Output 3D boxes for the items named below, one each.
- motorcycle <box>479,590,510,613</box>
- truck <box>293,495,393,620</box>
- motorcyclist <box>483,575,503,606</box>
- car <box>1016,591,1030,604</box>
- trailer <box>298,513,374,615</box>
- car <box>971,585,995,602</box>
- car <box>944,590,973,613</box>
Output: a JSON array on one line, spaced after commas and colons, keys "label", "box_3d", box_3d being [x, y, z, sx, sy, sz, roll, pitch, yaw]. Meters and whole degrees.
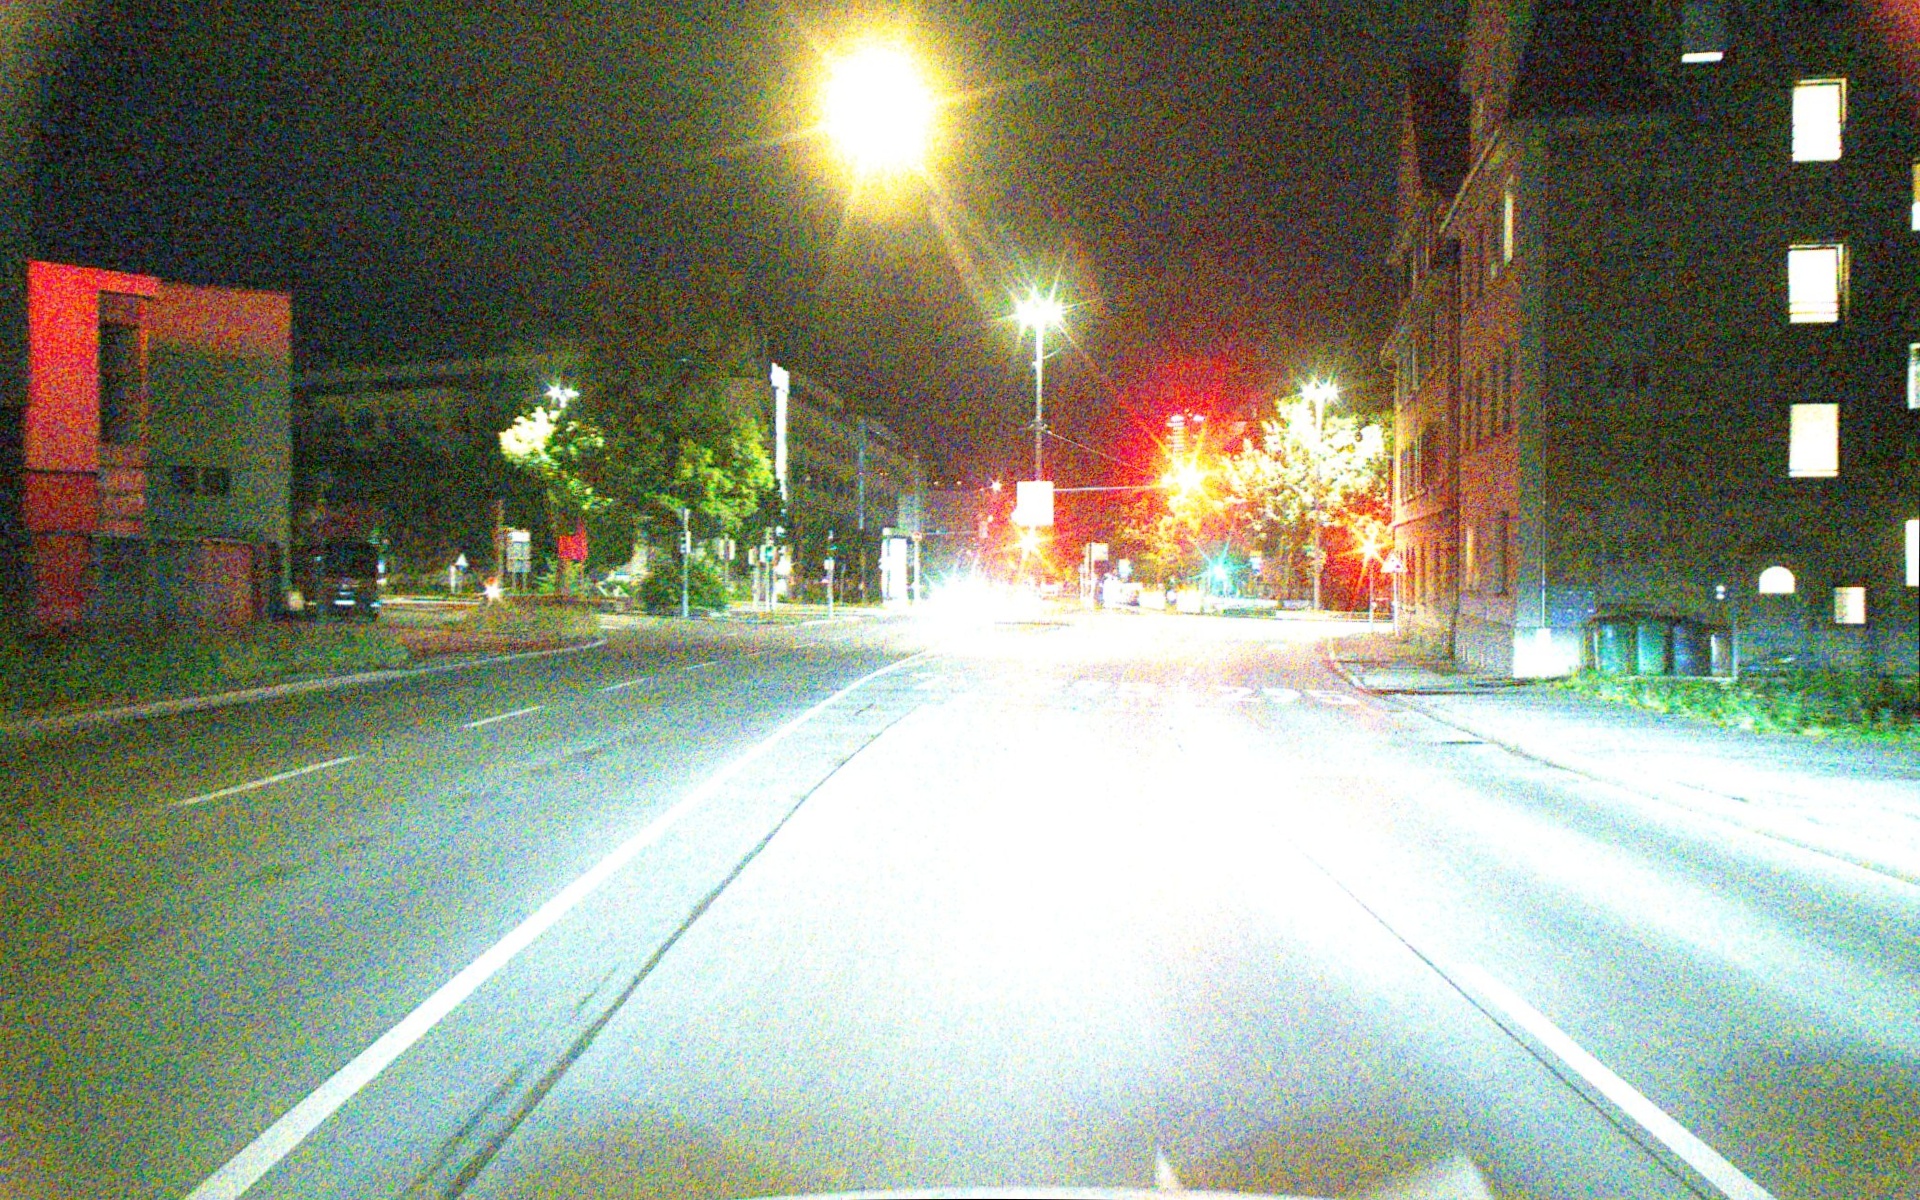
[{"label": "motorcycle", "box_3d": [-19.815, 0.058, 70.383, 0.573, 0.911, 2.127, -2, 1, -37]}, {"label": "truck", "box_3d": [-21.144, -1.361, 56.709, 2.896, 3.863, 9.498, 1, 0, -21]}, {"label": "motorcyclist", "box_3d": [-19.803, -0.406, 70.102, 0.642, 1.283, 0.571, 1, 0, -37]}, {"label": "car", "box_3d": [8.488, -0.322, 222.330, 1.720, 1.758, 3.549, 1, 0, 5]}, {"label": "trailer", "box_3d": [-25.096, -1.389, 66.411, 2.578, 3.857, 6.469, 1, 0, -23]}, {"label": "car", "box_3d": [1.877, -0.517, 133.981, 1.720, 1.345, 3.549, 1, 0, 5]}, {"label": "car", "box_3d": [-0.095, 0.091, 114.333, 1.581, 1.541, 4.002, 1, 0, 5]}]
